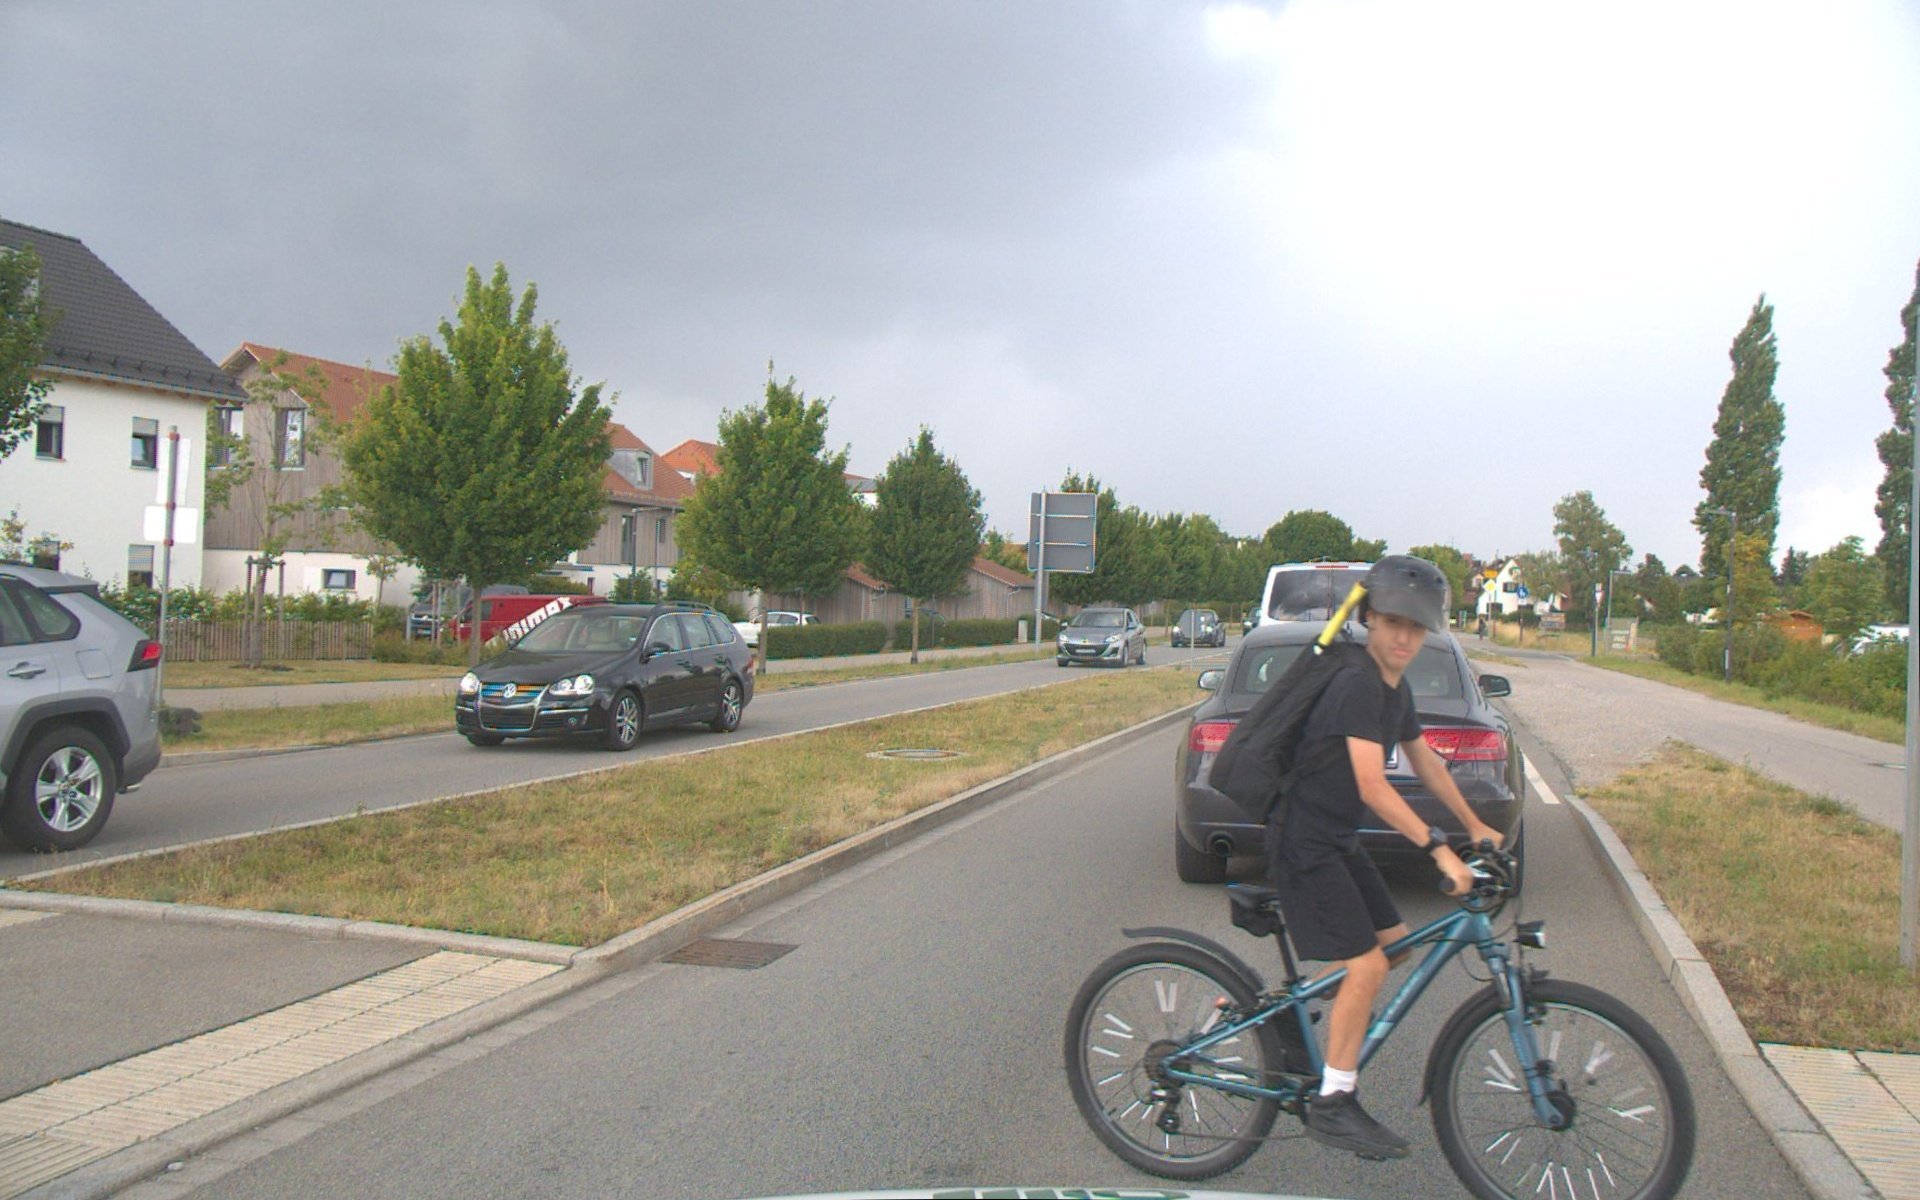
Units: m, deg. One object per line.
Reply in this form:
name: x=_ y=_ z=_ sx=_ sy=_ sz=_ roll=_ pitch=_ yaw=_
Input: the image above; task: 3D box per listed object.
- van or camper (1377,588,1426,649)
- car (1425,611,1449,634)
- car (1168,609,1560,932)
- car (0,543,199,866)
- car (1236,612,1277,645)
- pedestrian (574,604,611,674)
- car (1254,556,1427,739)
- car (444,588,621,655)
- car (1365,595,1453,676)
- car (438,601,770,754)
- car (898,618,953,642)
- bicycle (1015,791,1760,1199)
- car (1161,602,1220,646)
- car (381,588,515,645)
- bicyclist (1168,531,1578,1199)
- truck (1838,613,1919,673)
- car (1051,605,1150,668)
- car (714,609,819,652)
van or camper: x=25.824 y=1.102 z=96.763 sx=2.569 sy=3.382 sz=6.825 roll=2 pitch=-1 yaw=15
car: x=34.867 y=1.639 z=120.848 sx=1.579 sy=1.659 sz=3.618 roll=2 pitch=0 yaw=16
car: x=2.346 y=0.790 z=9.751 sx=1.746 sy=1.416 sz=4.136 roll=2 pitch=0 yaw=13
car: x=-6.318 y=0.553 z=8.335 sx=1.951 sy=1.733 sz=4.638 roll=0 pitch=0 yaw=16
car: x=15.687 y=1.474 z=87.308 sx=1.827 sy=1.601 sz=4.003 roll=2 pitch=0 yaw=14
pedestrian: x=-8.538 y=0.895 z=38.468 sx=0.569 sy=1.586 sz=0.660 roll=2 pitch=0 yaw=14
car: x=4.680 y=0.526 z=20.336 sx=1.827 sy=1.968 sz=4.003 roll=2 pitch=0 yaw=13
car: x=-12.087 y=0.598 z=46.774 sx=4.436 sy=1.709 sz=2.001 roll=2 pitch=0 yaw=19
car: x=9.954 y=0.753 z=36.586 sx=1.739 sy=1.646 sz=4.002 roll=2 pitch=0 yaw=16
car: x=-3.668 y=0.761 z=17.951 sx=1.716 sy=1.441 sz=4.459 roll=0 pitch=-1 yaw=14
car: x=-1.619 y=1.419 z=78.246 sx=2.419 sy=1.046 sz=1.186 roll=2 pitch=0 yaw=10
bicycle: x=1.002 y=1.013 z=4.016 sx=1.674 sy=0.963 sz=0.497 roll=0 pitch=0 yaw=24
car: x=9.059 y=0.936 z=64.734 sx=1.827 sy=1.601 sz=4.003 roll=2 pitch=0 yaw=14
car: x=-17.228 y=0.572 z=55.879 sx=1.952 sy=1.803 sz=4.466 roll=2 pitch=0 yaw=20
bicyclist: x=1.018 y=0.587 z=3.994 sx=0.849 sy=1.472 sz=0.724 roll=0 pitch=0 yaw=24
truck: x=32.015 y=1.477 z=54.853 sx=4.694 sy=1.905 sz=2.002 roll=2 pitch=0 yaw=11
car: x=3.621 y=0.884 z=42.049 sx=1.694 sy=1.434 sz=4.208 roll=3 pitch=1 yaw=16
car: x=-7.494 y=1.154 z=64.253 sx=3.650 sy=1.508 sz=1.688 roll=2 pitch=0 yaw=13
